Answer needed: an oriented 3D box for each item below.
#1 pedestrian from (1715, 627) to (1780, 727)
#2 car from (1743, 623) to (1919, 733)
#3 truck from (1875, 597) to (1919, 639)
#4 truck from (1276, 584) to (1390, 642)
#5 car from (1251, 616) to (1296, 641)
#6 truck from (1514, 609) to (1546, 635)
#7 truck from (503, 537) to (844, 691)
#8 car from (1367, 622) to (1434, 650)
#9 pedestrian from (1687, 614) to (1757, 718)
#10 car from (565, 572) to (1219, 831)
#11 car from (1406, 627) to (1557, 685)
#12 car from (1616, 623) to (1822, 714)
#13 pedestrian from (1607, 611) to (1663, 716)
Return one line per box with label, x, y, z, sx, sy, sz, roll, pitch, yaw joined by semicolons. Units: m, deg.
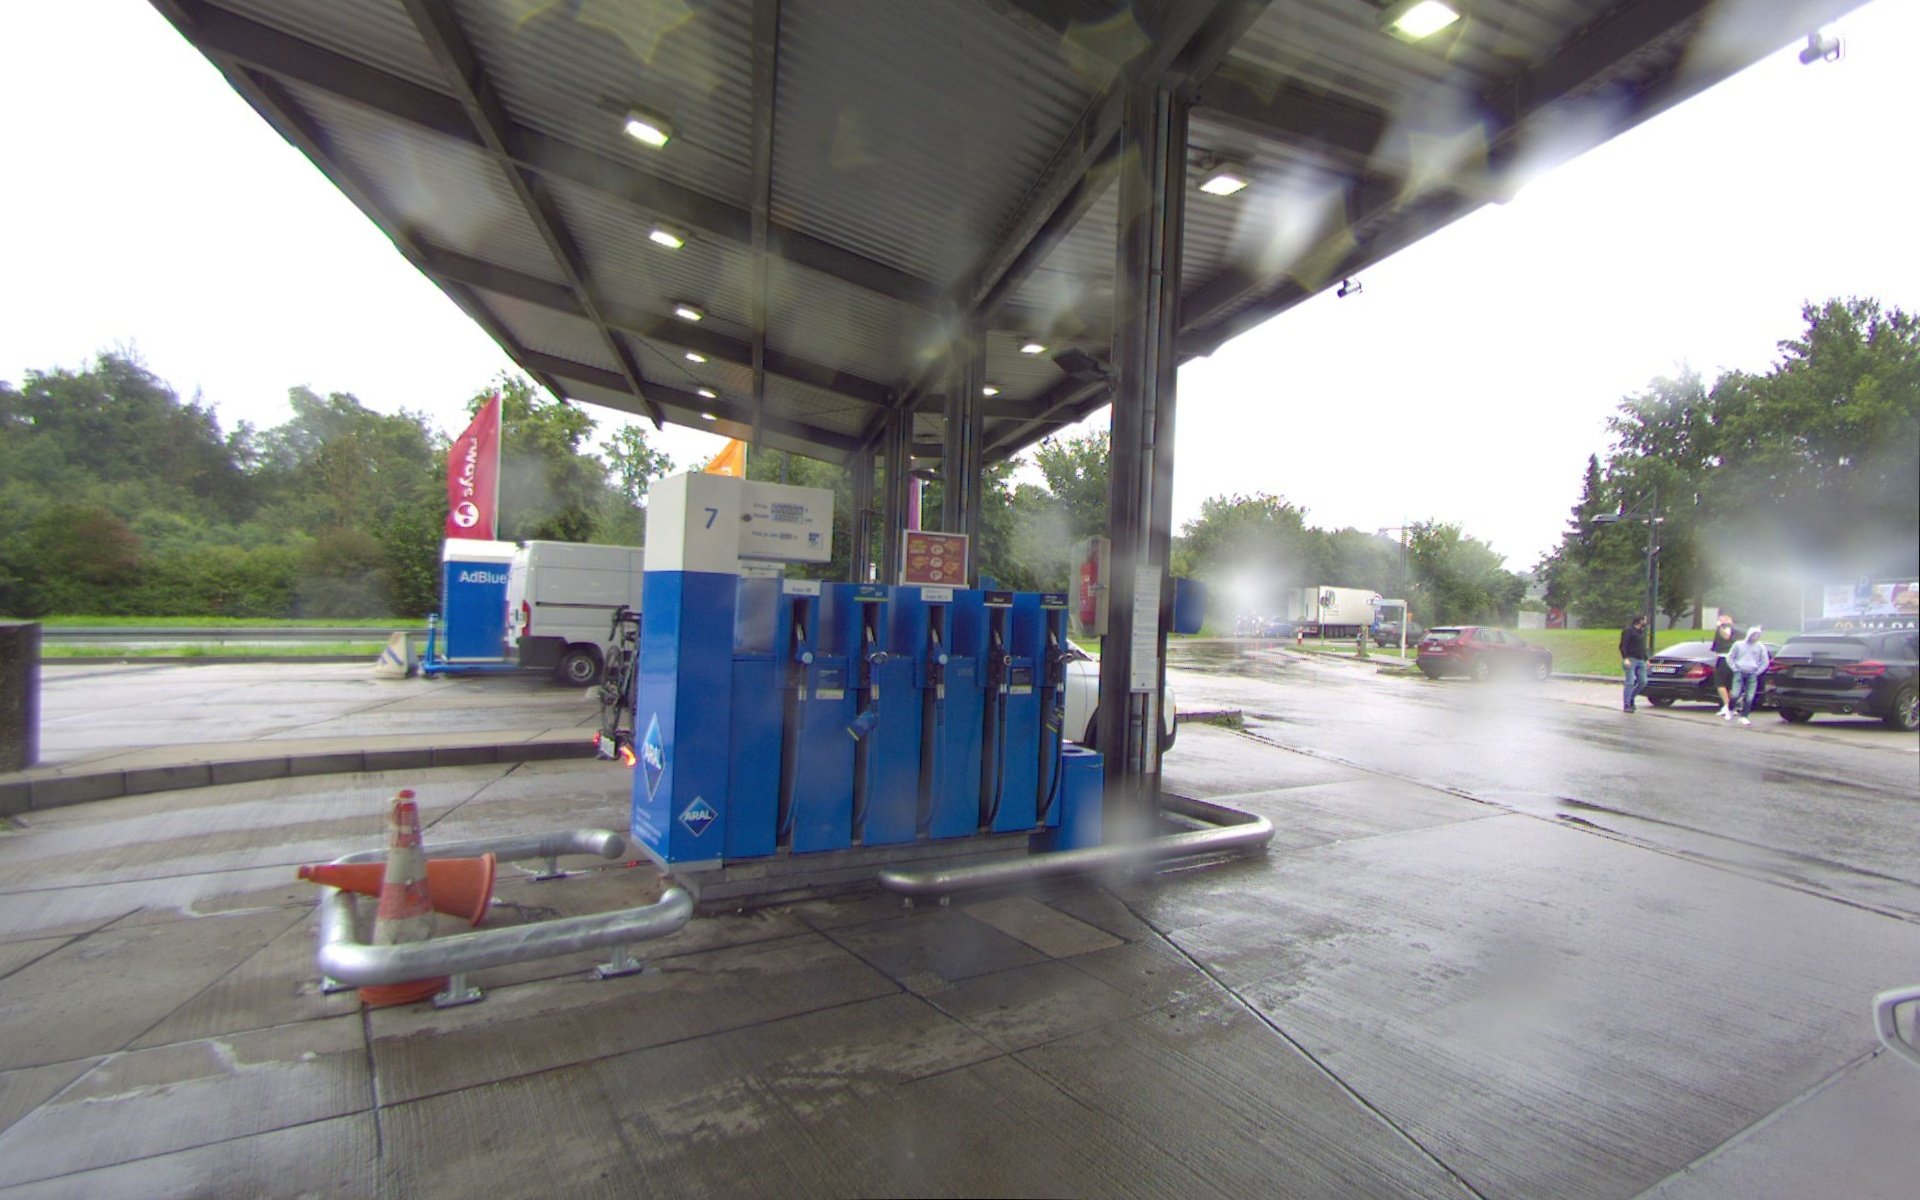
pedestrian;13.645;1.302;17.423;0.691;1.653;0.952;2;0;29
car;16.191;1.275;17.468;4.274;1.734;2.016;1;-1;-18
truck;68.879;1.326;71.695;5.285;2.959;2.191;2;0;-5
truck;31.905;1.194;85.150;3.498;4.397;16.922;2;0;40
car;22.928;2.070;73.437;1.787;1.704;3.934;2;0;40
truck;73.886;2.845;130.129;2.446;3.126;7.327;2;0;38
truck;-5.319;0.299;18.943;5.793;2.527;2.221;2;0;-30
car;28.582;2.345;65.216;3.952;1.700;1.985;2;-1;-29
pedestrian;14.591;1.238;19.262;0.937;1.912;0.702;2;0;30
car;-0.407;0.706;8.461;5.210;1.629;1.852;2;0;-30
car;16.097;1.675;31.003;4.283;1.666;1.933;1;-2;-25
car;15.961;1.361;21.091;4.293;1.734;2.007;1;-2;-31
pedestrian;12.810;1.183;19.086;0.690;1.912;0.893;2;0;24
